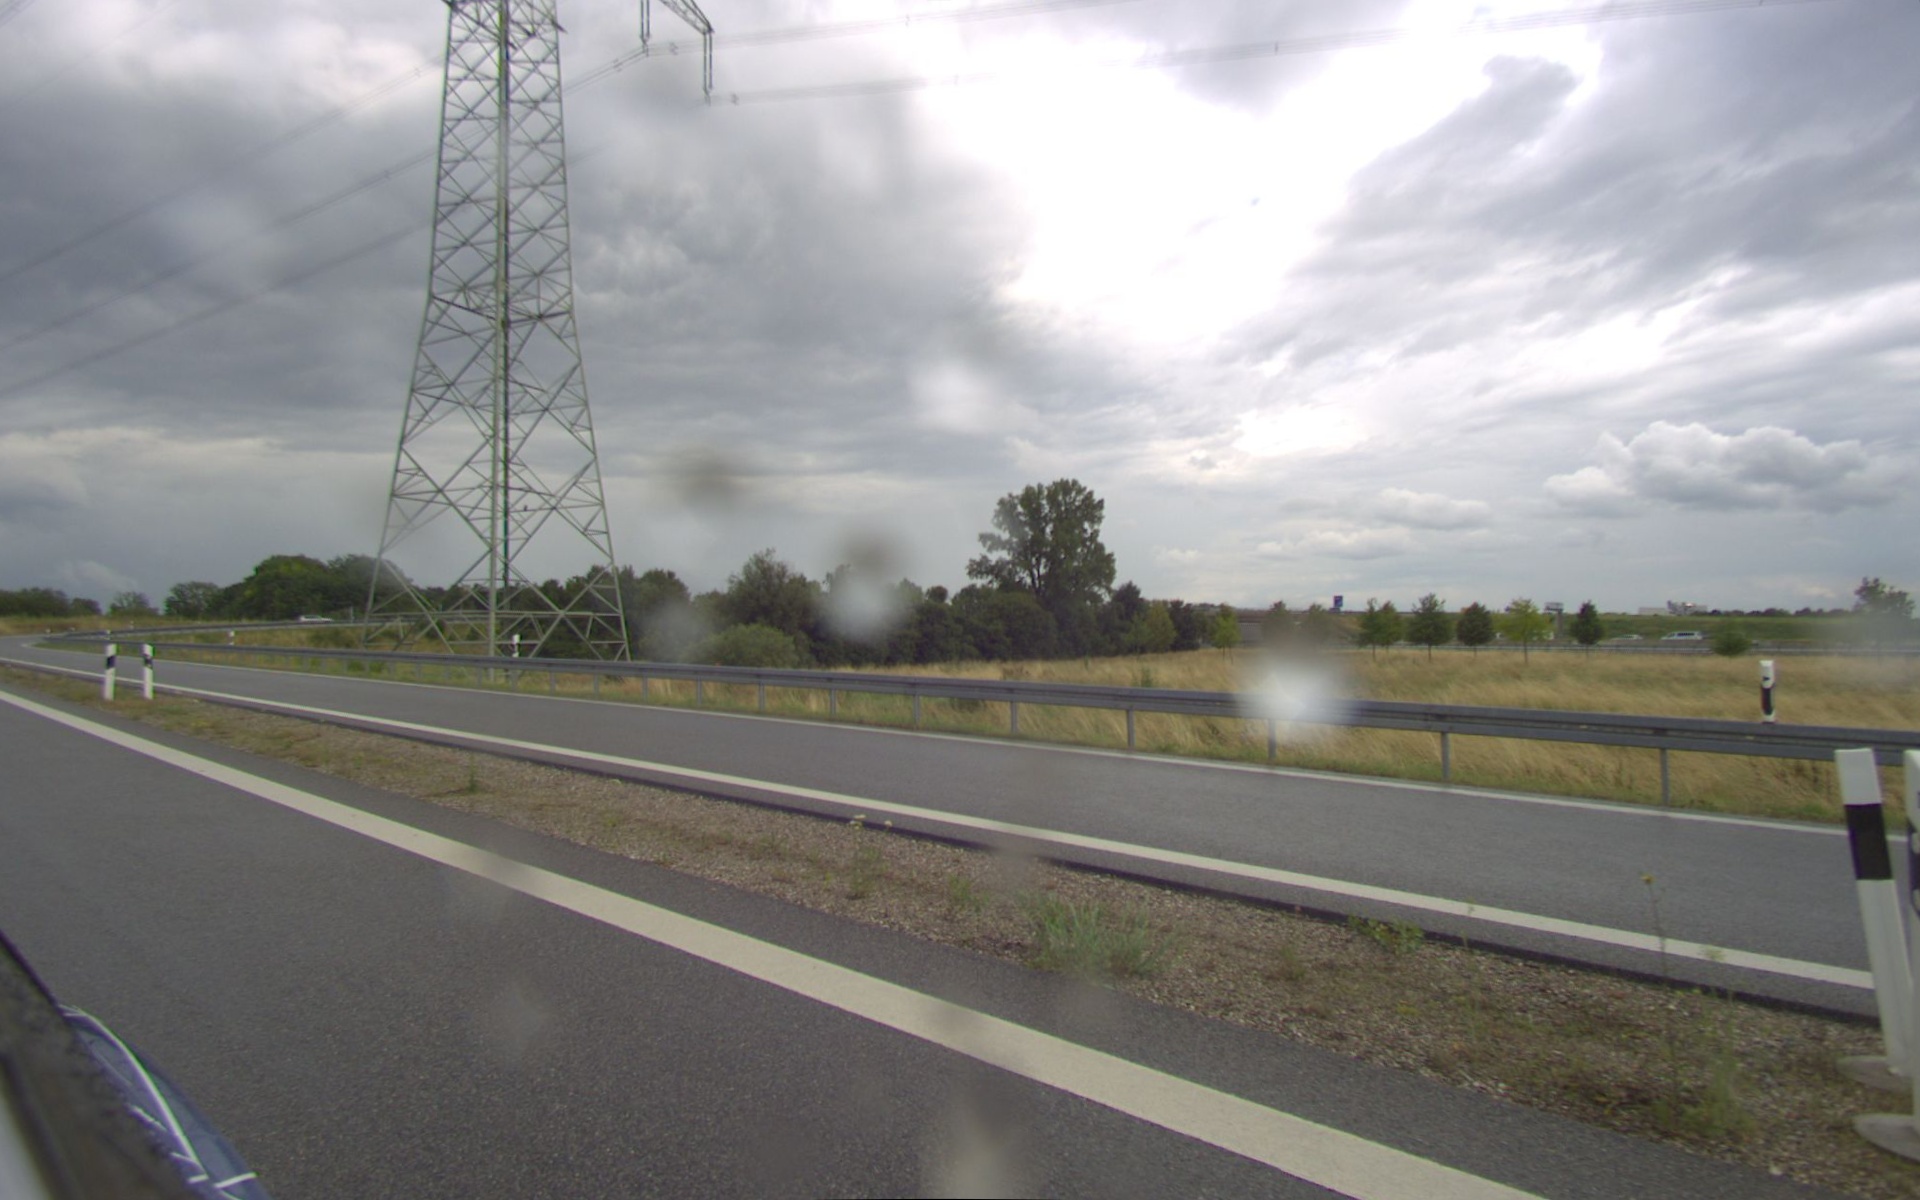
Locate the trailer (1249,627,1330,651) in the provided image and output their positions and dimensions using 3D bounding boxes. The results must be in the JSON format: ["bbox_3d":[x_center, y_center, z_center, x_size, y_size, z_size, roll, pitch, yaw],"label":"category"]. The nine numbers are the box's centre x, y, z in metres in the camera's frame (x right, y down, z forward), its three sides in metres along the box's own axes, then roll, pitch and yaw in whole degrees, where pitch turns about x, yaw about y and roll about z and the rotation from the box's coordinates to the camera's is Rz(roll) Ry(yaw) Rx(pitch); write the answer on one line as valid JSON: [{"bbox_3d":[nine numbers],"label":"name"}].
[{"bbox_3d":[54.994,6.560,169.530,2.812,3.811,13.688,0,-2,-37],"label":"trailer"}]
